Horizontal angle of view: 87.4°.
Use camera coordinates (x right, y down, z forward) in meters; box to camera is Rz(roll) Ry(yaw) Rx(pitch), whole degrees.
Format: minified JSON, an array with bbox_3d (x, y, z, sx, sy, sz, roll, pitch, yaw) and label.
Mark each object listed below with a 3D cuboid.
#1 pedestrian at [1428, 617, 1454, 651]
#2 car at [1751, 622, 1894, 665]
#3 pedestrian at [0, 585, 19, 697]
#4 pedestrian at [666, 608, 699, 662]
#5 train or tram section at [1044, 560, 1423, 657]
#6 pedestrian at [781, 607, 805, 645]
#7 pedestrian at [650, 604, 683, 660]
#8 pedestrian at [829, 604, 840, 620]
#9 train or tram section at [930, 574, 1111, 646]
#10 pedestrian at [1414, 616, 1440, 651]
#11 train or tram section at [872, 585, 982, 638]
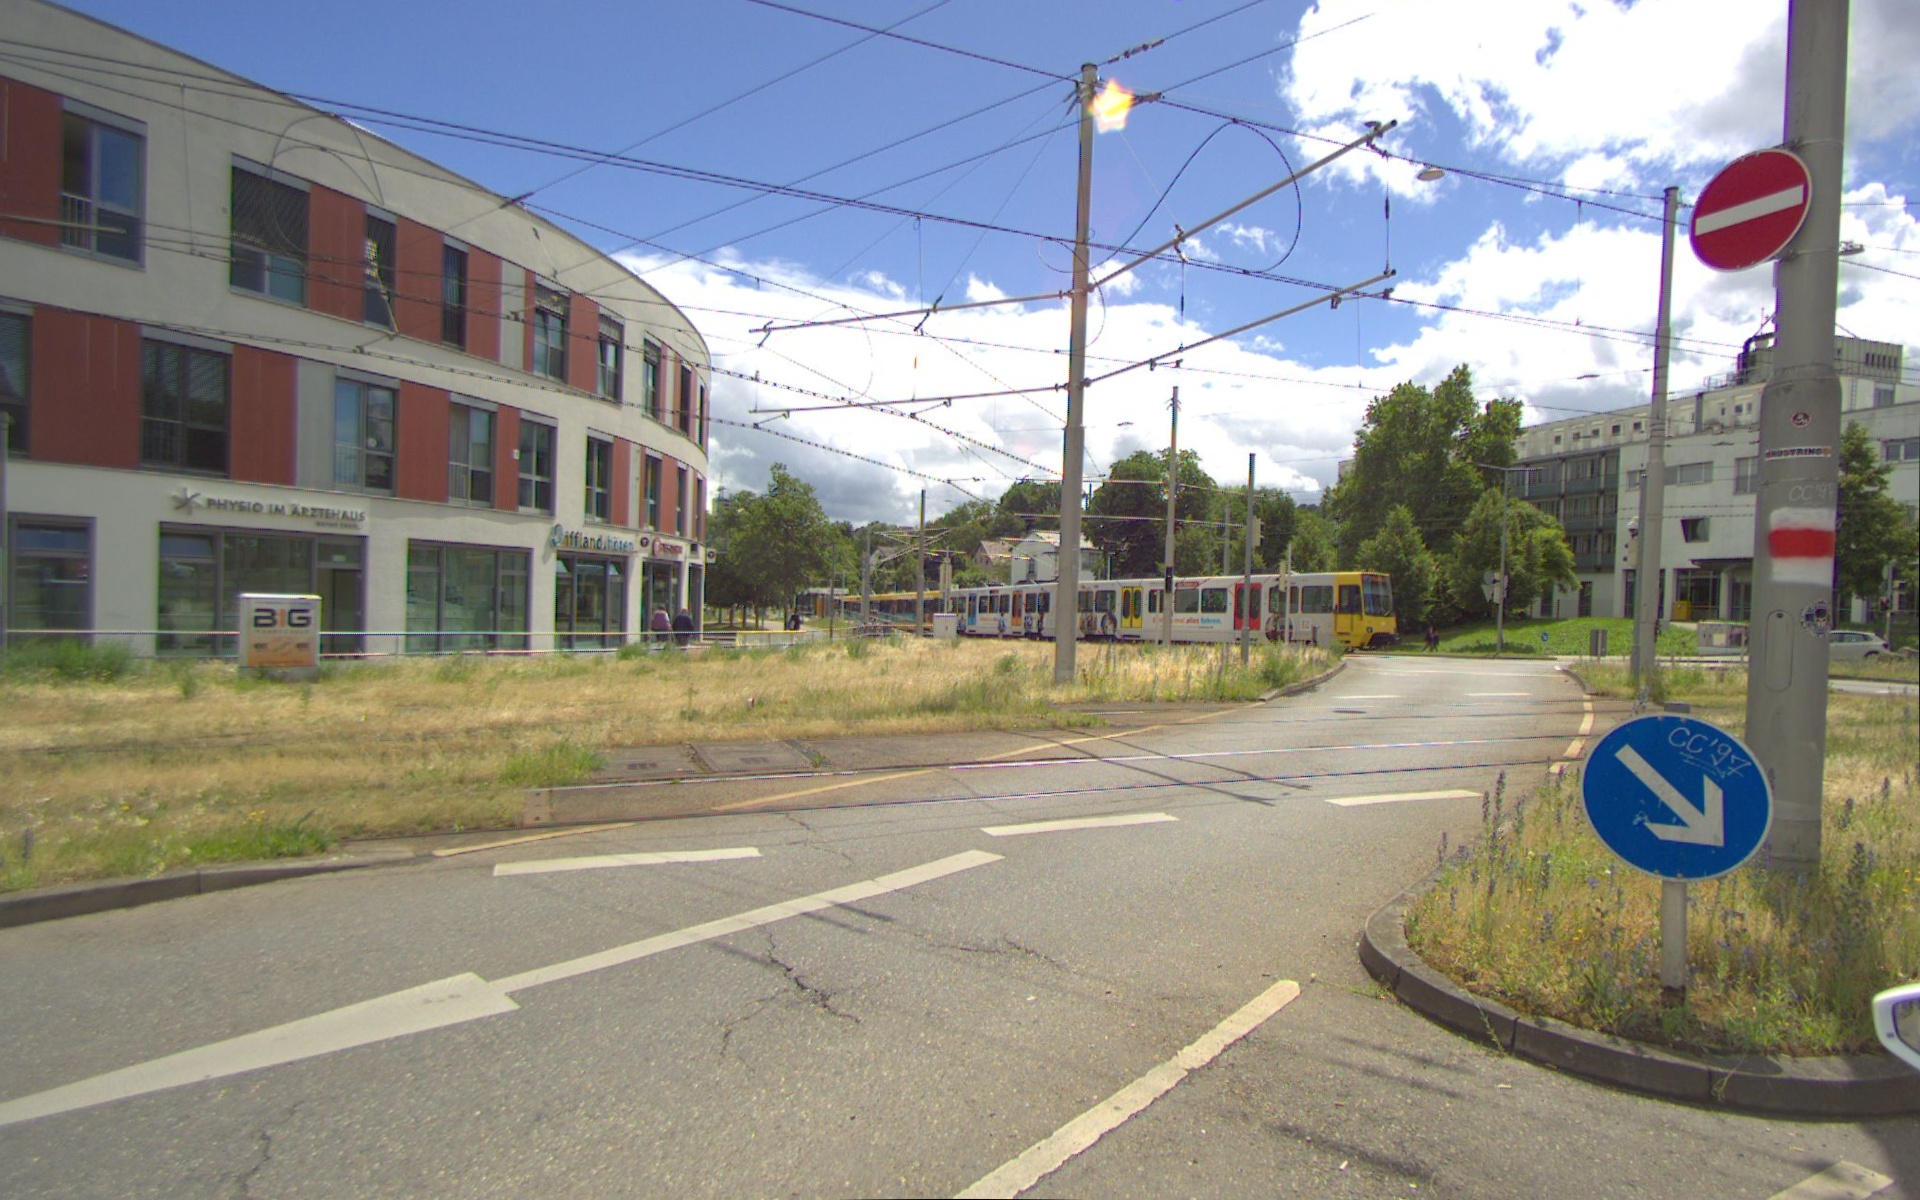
[{"bbox_3d":[28.314,1.992,59.121,0.854,1.994,1.098,2,-1,-27],"label":"pedestrian"},{"bbox_3d":[35.450,1.786,41.415,4.089,1.606,1.858,1,-2,23],"label":"car"},{"bbox_3d":[-17.733,0.724,17.966,0.850,1.994,1.112,0,-2,36],"label":"pedestrian"},{"bbox_3d":[-8.395,1.041,30.435,0.720,1.601,0.692,1,0,11],"label":"pedestrian"},{"bbox_3d":[12.098,0.484,49.128,3.727,3.864,19.841,2,-2,-37],"label":"train or tram section"},{"bbox_3d":[-7.467,1.159,44.965,0.847,1.646,0.733,1,-1,7],"label":"pedestrian"},{"bbox_3d":[-10.676,1.155,36.605,0.848,1.994,1.106,1,-1,-2],"label":"pedestrian"},{"bbox_3d":[-16.690,1.586,133.423,1.241,2.040,1.121,2,-1,-19],"label":"pedestrian"},{"bbox_3d":[3.169,0.756,66.140,3.706,3.930,20.535,2,-2,-21],"label":"train or tram section"},{"bbox_3d":[27.372,1.952,58.874,0.854,1.994,1.098,2,-1,-27],"label":"pedestrian"},{"bbox_3d":[-3.293,1.080,84.832,3.703,3.880,20.068,2,-2,-18],"label":"train or tram section"}]
